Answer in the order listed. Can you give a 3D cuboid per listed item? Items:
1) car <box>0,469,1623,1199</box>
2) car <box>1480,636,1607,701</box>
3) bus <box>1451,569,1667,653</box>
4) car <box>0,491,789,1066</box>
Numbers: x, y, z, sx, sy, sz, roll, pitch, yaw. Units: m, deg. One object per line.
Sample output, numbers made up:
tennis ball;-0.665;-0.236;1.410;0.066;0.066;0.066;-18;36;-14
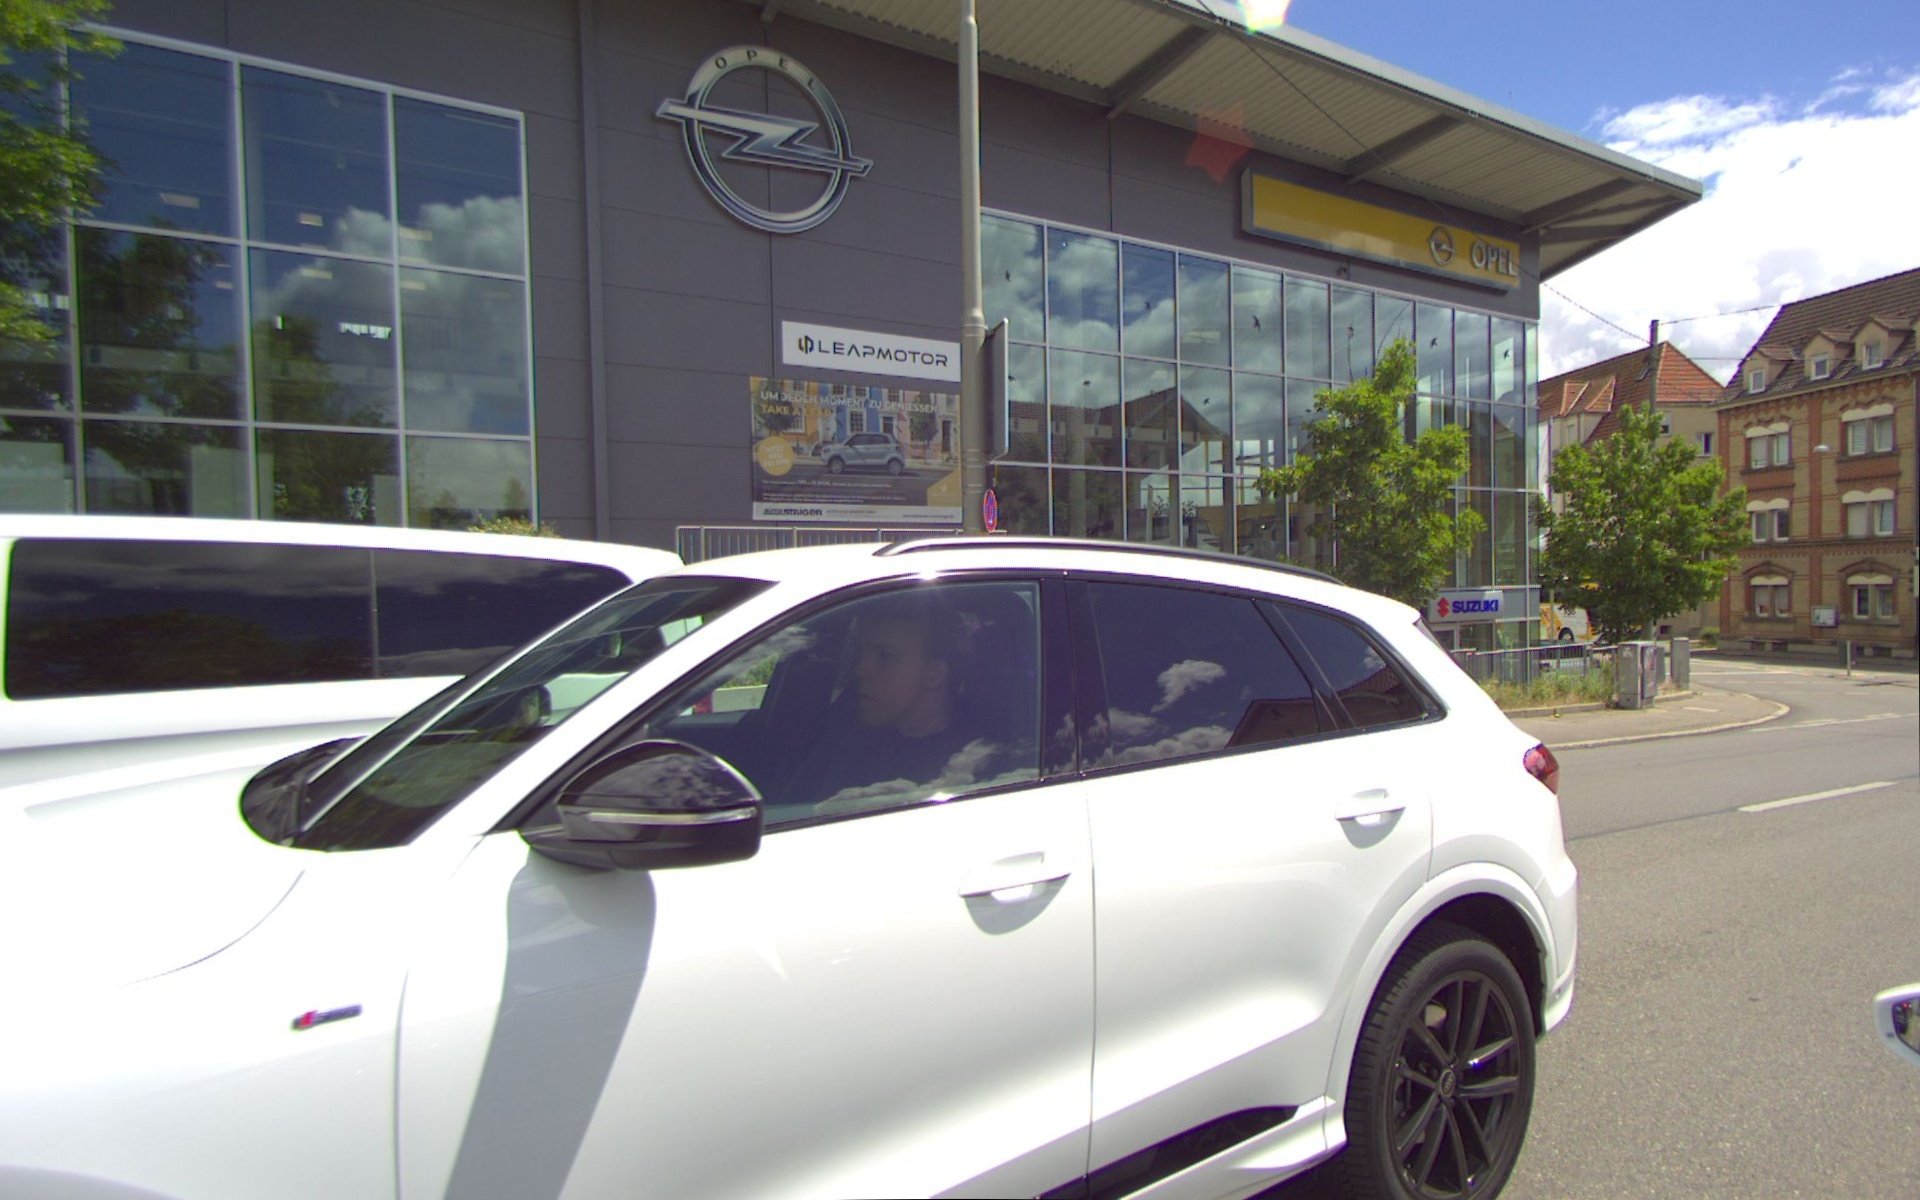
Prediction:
car;-0.640;0.699;2.312;4.364;1.635;1.910;1;0;-30
car;16.138;1.850;27.968;1.648;1.582;3.365;-1;0;1
bus;29.680;0.399;50.863;2.719;3.670;12.253;1;1;-5
car;-3.488;0.625;4.225;5.139;1.884;1.910;1;-3;-31
